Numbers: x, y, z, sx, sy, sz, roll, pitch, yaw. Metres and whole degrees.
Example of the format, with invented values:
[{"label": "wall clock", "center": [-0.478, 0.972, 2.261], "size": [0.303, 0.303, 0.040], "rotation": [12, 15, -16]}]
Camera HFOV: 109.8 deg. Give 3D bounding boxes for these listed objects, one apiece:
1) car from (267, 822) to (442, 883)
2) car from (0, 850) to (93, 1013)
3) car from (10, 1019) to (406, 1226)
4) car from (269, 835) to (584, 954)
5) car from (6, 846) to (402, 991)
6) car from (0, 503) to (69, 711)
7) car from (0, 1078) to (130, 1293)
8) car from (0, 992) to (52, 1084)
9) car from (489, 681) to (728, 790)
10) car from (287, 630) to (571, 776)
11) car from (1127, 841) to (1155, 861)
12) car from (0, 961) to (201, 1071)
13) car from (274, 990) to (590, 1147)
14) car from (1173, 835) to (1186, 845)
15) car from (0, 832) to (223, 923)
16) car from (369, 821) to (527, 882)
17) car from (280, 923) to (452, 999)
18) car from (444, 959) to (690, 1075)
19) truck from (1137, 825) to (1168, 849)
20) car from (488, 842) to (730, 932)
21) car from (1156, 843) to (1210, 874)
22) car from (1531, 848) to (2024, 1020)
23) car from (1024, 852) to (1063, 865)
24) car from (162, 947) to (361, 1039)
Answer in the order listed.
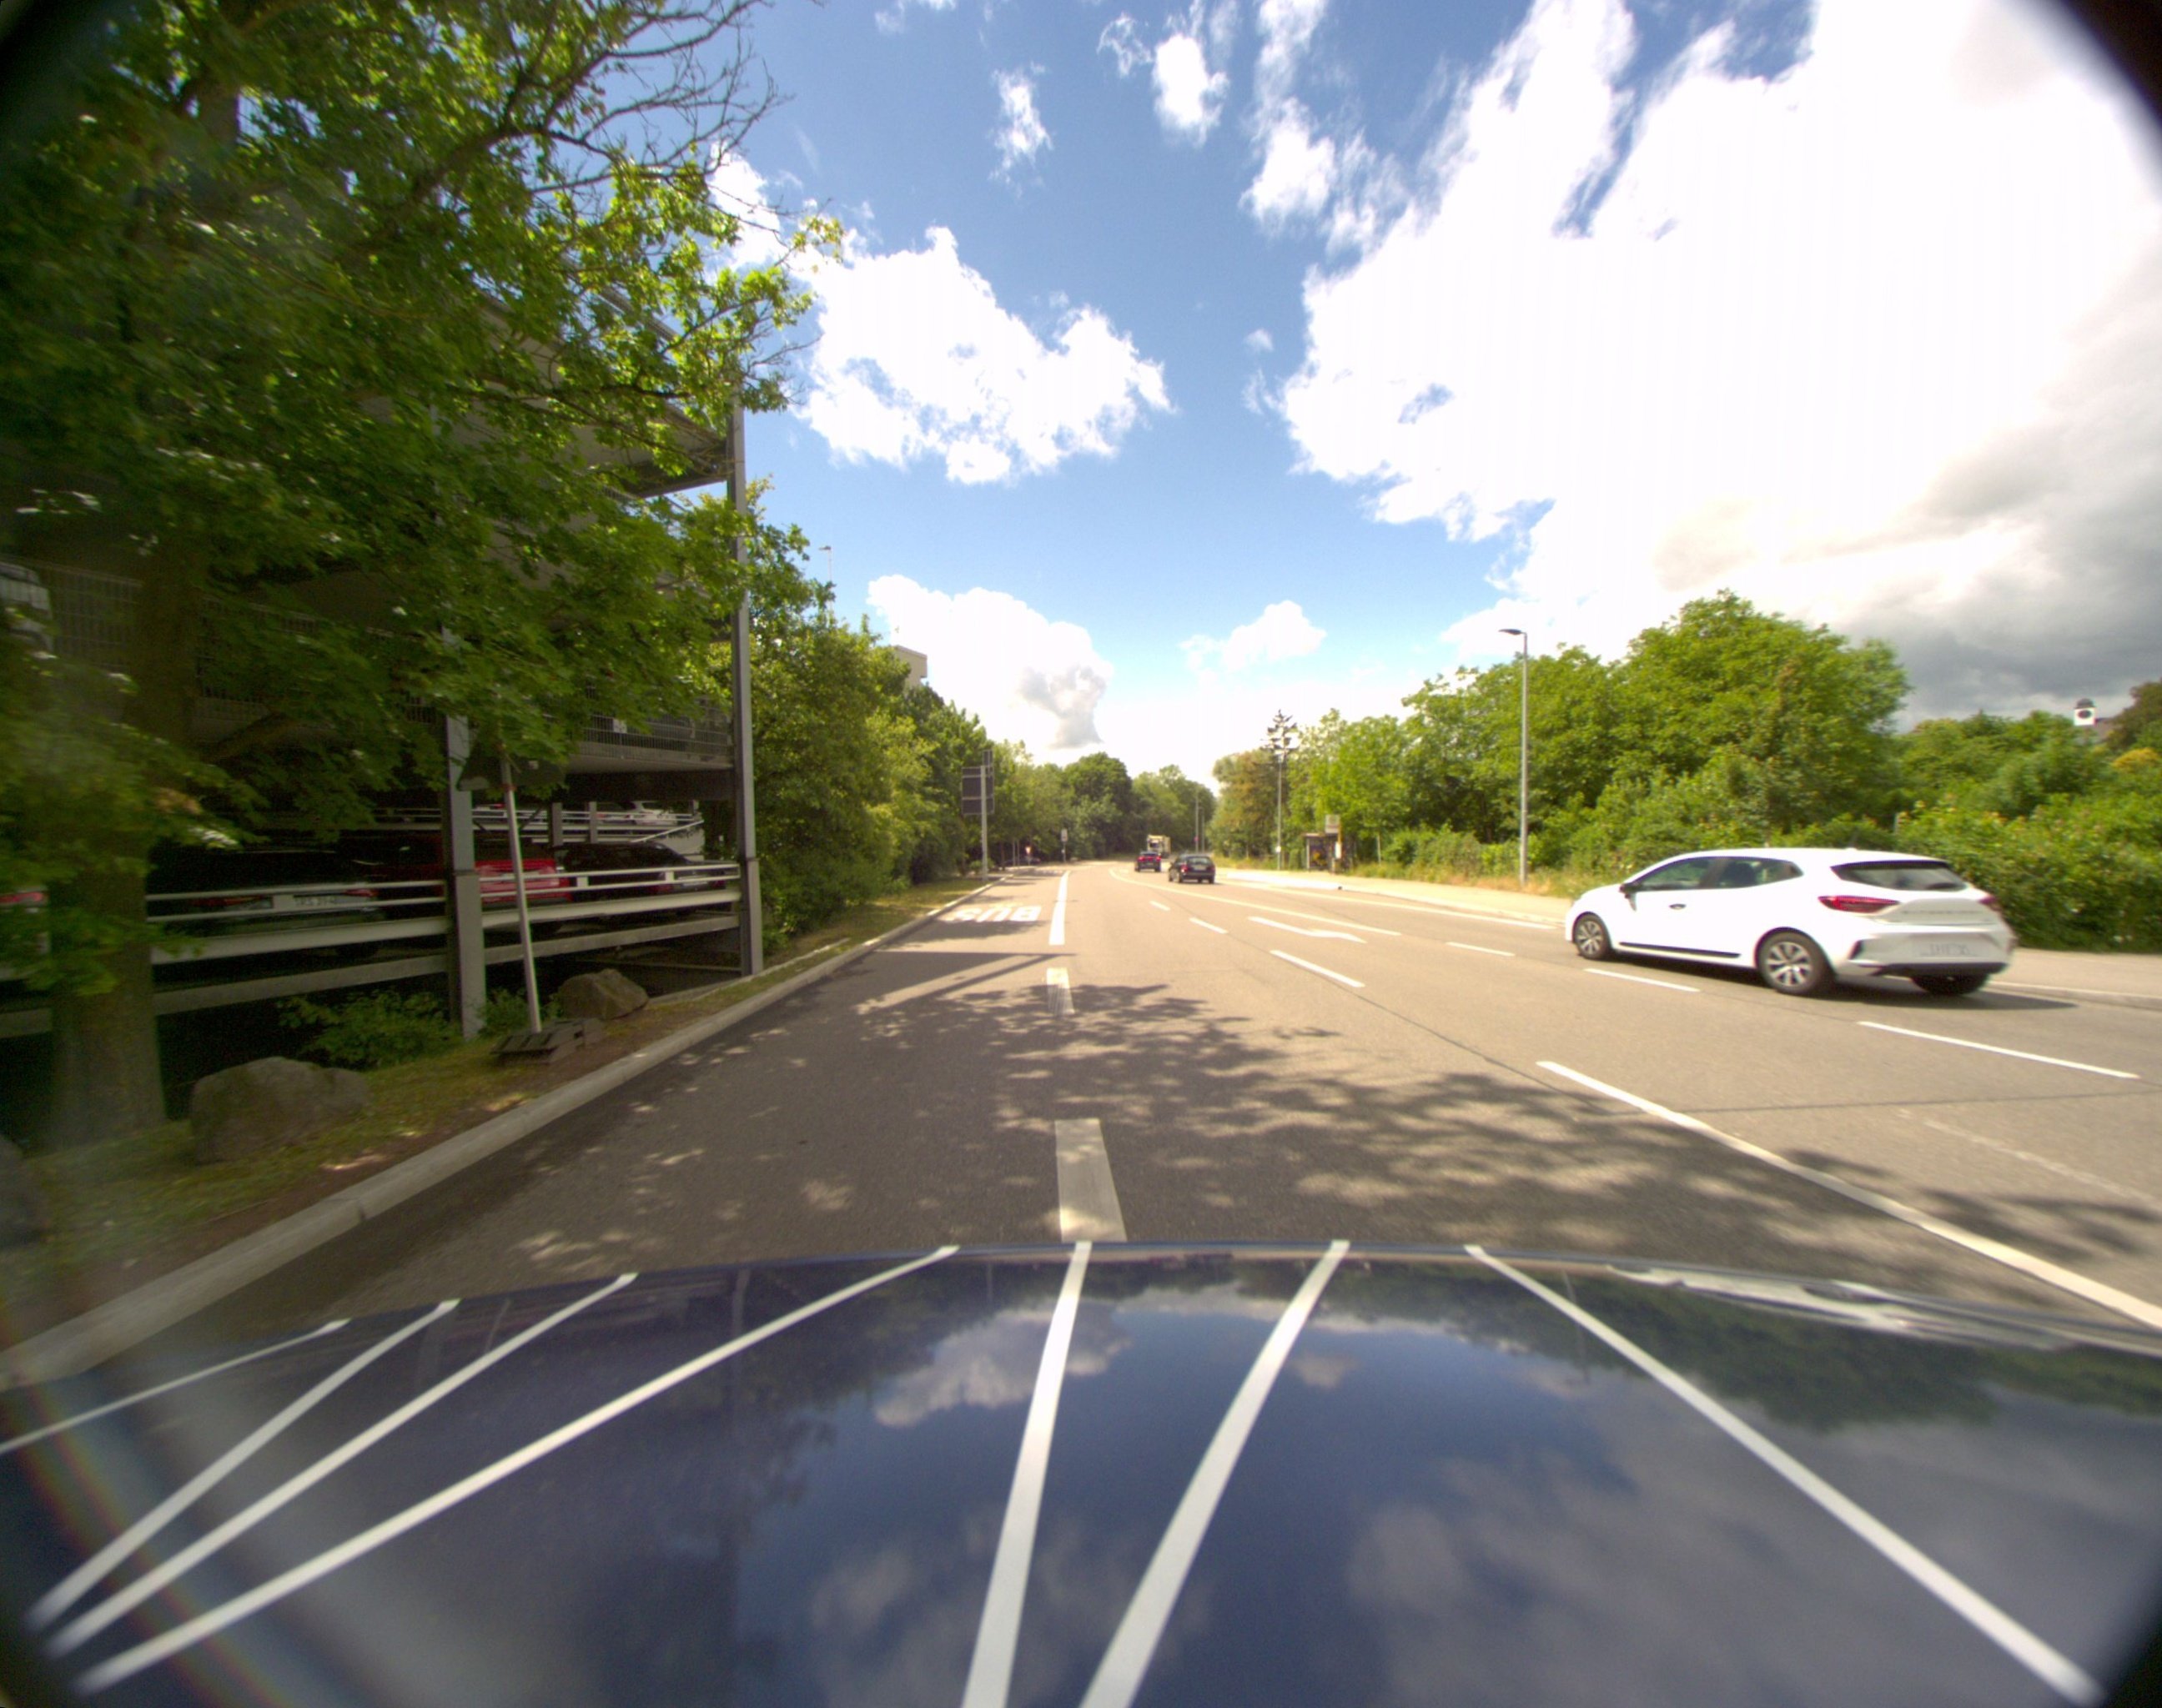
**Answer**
[{"label": "car", "center": [-18.636, -0.085, 19.519], "size": [3.848, 1.417, 1.755], "rotation": [1, 2, 21]}, {"label": "car", "center": [-11.177, 0.681, 6.855], "size": [3.848, 1.384, 1.697], "rotation": [0, 2, 21]}, {"label": "car", "center": [-10.622, 3.083, 9.301], "size": [3.848, 1.445, 1.839], "rotation": [0, 2, 19]}, {"label": "car", "center": [-9.577, 0.497, 11.163], "size": [3.848, 1.506, 1.839], "rotation": [0, 2, 21]}, {"label": "car", "center": [-10.253, 0.625, 8.922], "size": [3.848, 1.384, 1.816], "rotation": [0, 2, 21]}, {"label": "car", "center": [-11.340, -2.250, 6.919], "size": [3.694, 1.632, 1.662], "rotation": [0, 0, 22]}, {"label": "car", "center": [-11.471, 3.183, 7.209], "size": [3.848, 1.445, 1.839], "rotation": [0, 2, 19]}, {"label": "car", "center": [-20.518, 3.282, 13.485], "size": [3.848, 1.304, 1.681], "rotation": [1, 2, 21]}, {"label": "car", "center": [-8.166, -1.951, 13.158], "size": [3.694, 1.403, 1.662], "rotation": [0, 0, 22]}, {"label": "car", "center": [-9.558, -2.077, 11.157], "size": [3.694, 1.553, 1.662], "rotation": [0, 0, 22]}, {"label": "car", "center": [4.702, -0.247, 60.034], "size": [1.827, 1.548, 4.628], "rotation": [1, 0, -1]}, {"label": "car", "center": [-20.012, 3.159, 15.303], "size": [3.848, 1.458, 1.755], "rotation": [1, 2, 21]}, {"label": "car", "center": [-9.583, 3.033, 11.277], "size": [3.848, 1.445, 1.839], "rotation": [0, 2, 19]}, {"label": "car", "center": [20.620, -2.855, 159.220], "size": [1.996, 2.002, 4.004], "rotation": [2, 2, 16]}, {"label": "car", "center": [-19.852, 0.385, 15.569], "size": [3.848, 1.636, 1.755], "rotation": [1, 2, 21]}, {"label": "car", "center": [-17.901, -0.110, 21.495], "size": [3.925, 1.542, 1.772], "rotation": [2, 3, 22]}, {"label": "car", "center": [-18.600, 2.720, 19.783], "size": [3.848, 1.417, 1.755], "rotation": [1, 2, 21]}, {"label": "car", "center": [-9.373, 2.877, 13.925], "size": [3.726, 1.445, 1.839], "rotation": [0, 2, 20]}, {"label": "truck", "center": [12.444, -2.971, 131.331], "size": [3.236, 3.839, 9.883], "rotation": [2, 2, 16]}, {"label": "car", "center": [-8.257, 0.510, 13.324], "size": [3.695, 1.404, 1.661], "rotation": [0, 2, 21]}, {"label": "car", "center": [5.005, 0.165, 37.835], "size": [1.771, 1.434, 4.374], "rotation": [0, 1, -4]}, {"label": "car", "center": [7.201, 0.680, 8.526], "size": [1.771, 1.434, 3.897], "rotation": [0, 1, -4]}, {"label": "car", "center": [-3.891, 0.446, 78.396], "size": [4.003, 1.293, 1.739], "rotation": [0, 2, -5]}, {"label": "car", "center": [-18.672, 3.087, 17.329], "size": [3.848, 1.417, 1.755], "rotation": [1, 2, 21]}]
